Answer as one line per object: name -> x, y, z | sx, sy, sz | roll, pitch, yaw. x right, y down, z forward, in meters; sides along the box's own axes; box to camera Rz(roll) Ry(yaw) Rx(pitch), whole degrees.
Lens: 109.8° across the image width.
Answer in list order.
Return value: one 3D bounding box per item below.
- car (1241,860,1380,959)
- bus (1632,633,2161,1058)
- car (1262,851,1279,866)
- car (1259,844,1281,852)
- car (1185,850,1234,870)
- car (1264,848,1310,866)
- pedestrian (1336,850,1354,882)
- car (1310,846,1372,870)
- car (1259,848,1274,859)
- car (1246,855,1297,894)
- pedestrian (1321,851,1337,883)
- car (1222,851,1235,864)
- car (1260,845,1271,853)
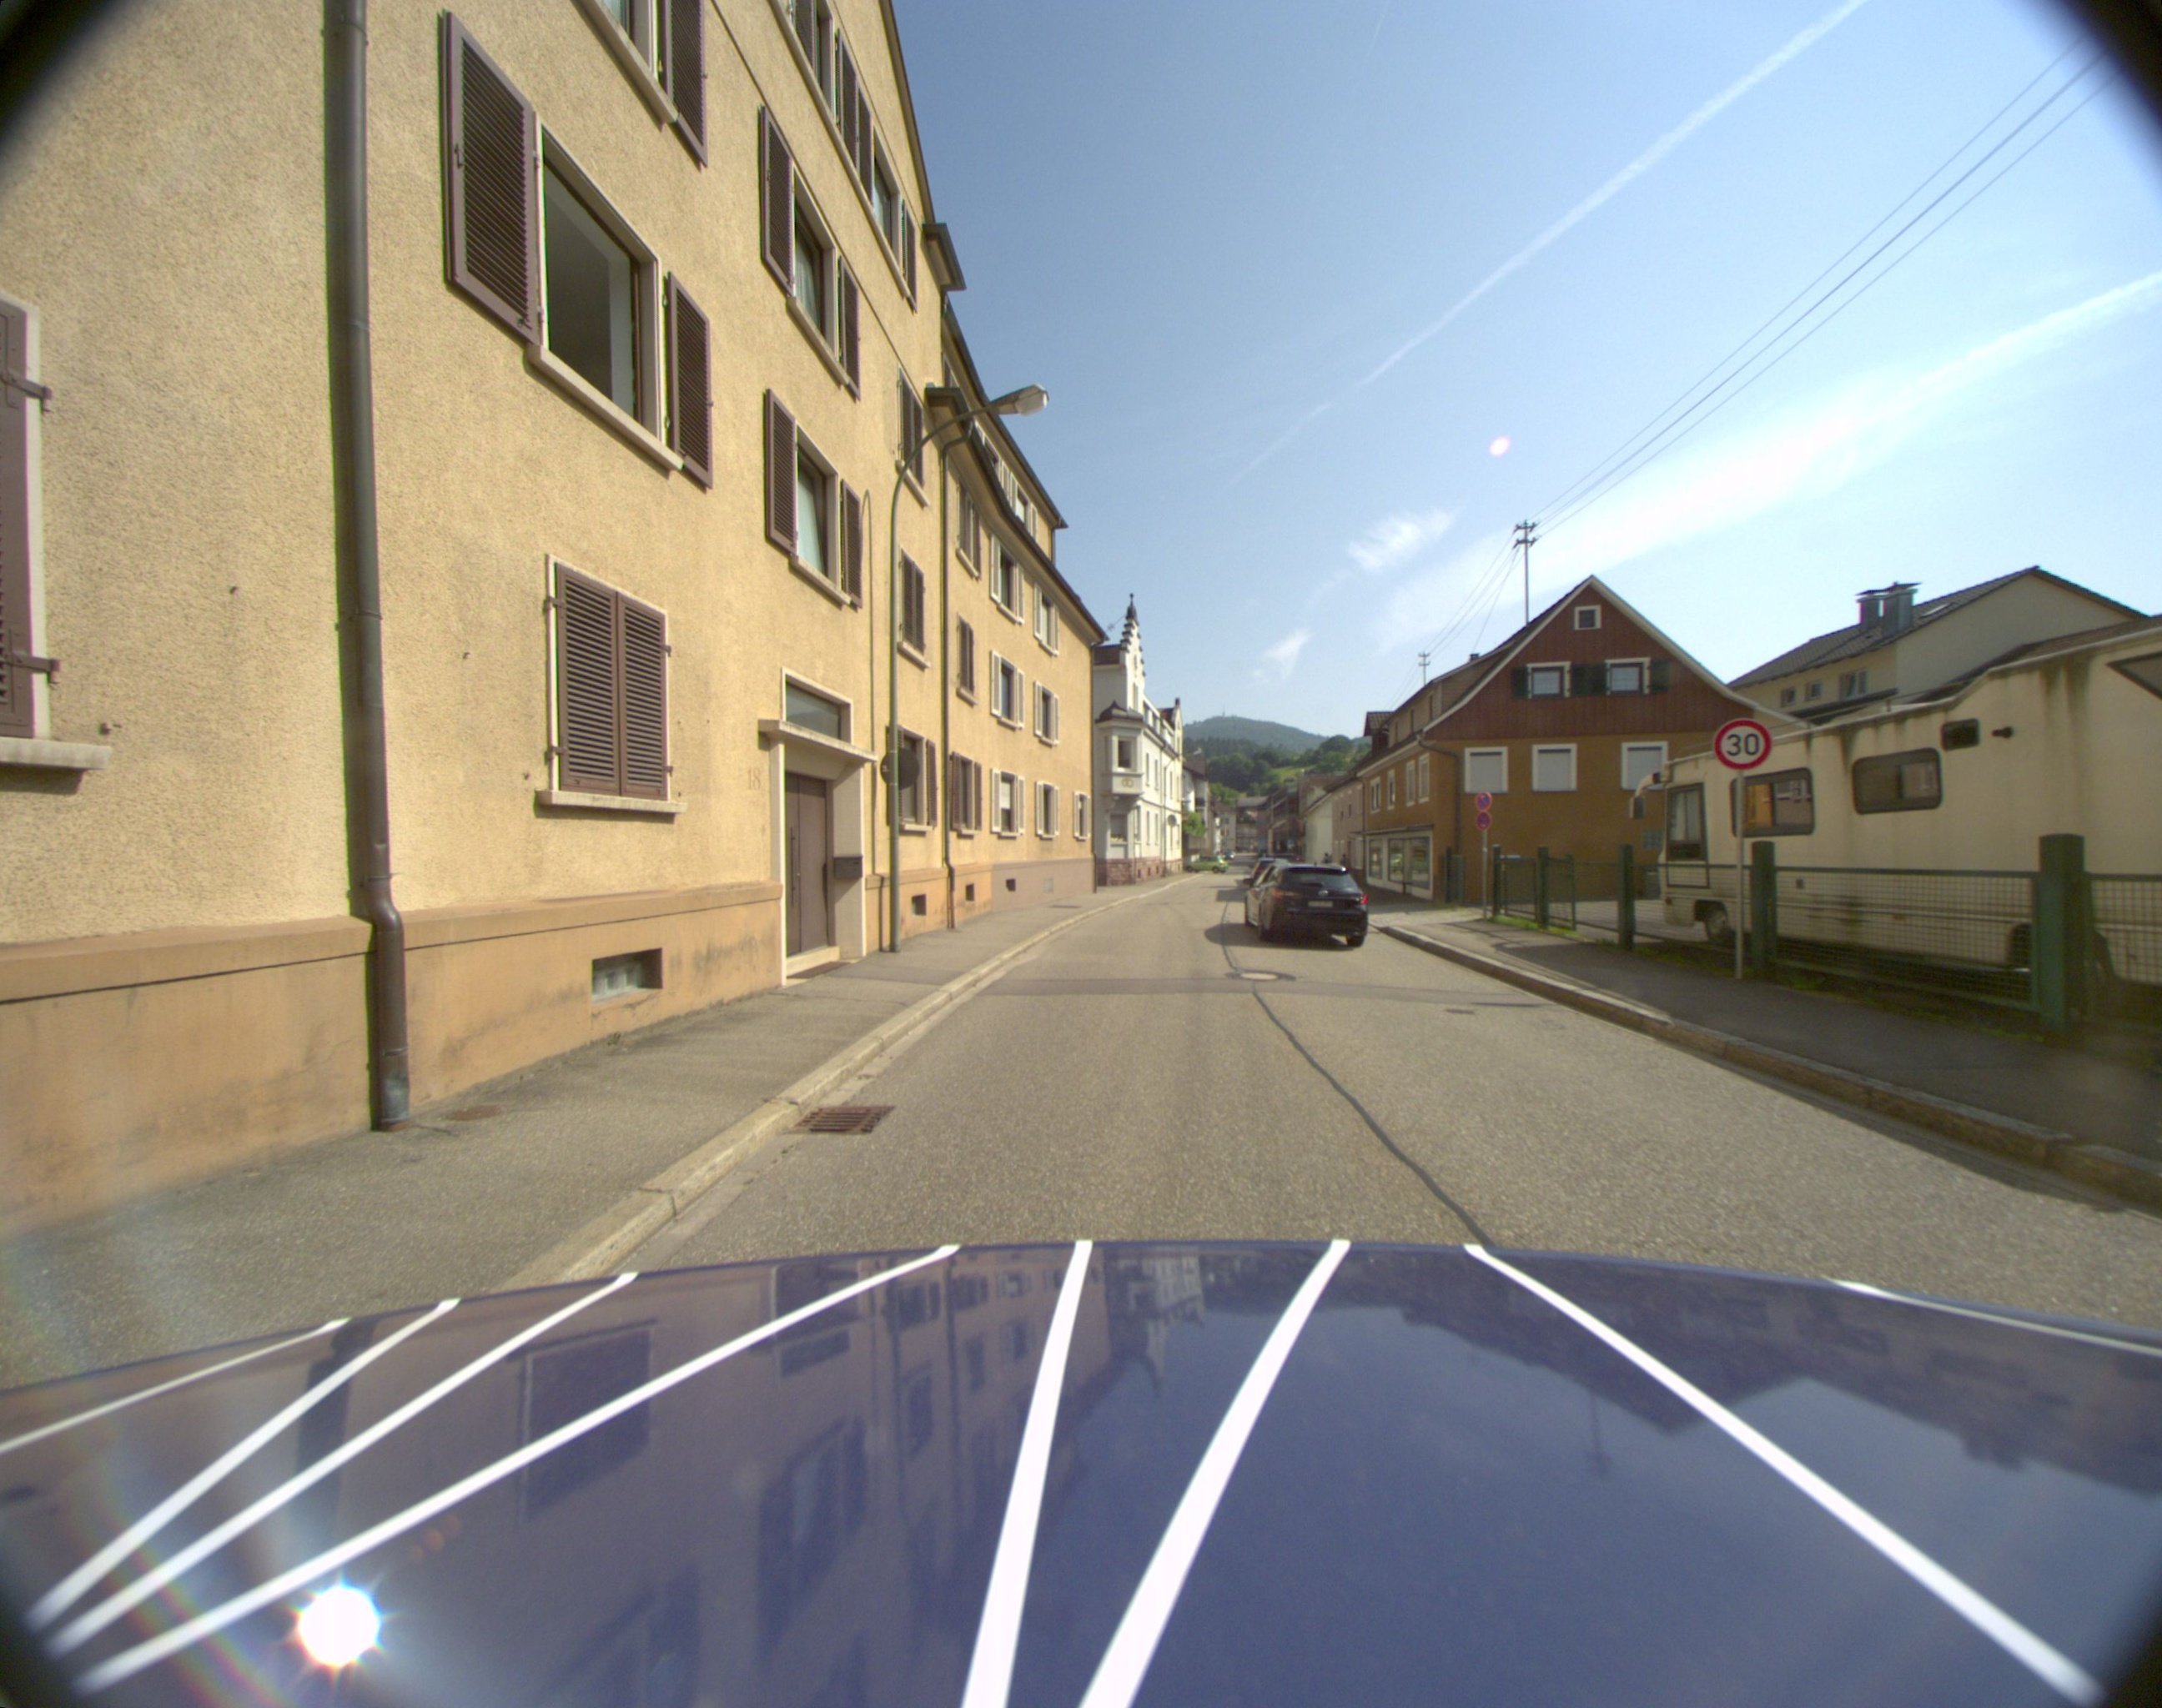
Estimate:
car -> 4.138, 0.903, 14.357 | 1.662, 1.441, 4.260 | 3, 1, 6
bus -> 9.963, -0.126, 8.043 | 2.825, 3.209, 9.042 | -3, 0, 9
car -> 23.145, 0.510, 92.886 | 1.723, 1.786, 4.272 | 0, 0, 9
car -> 38.514, -1.222, 154.922 | 3.996, 1.674, 1.835 | 0, -1, 3
car -> 10.789, 0.493, 63.978 | 3.648, 1.456, 1.605 | 4, 1, 33
car -> 19.938, 0.312, 73.602 | 3.990, 1.652, 1.827 | 0, -1, 25
pedestrian -> 13.509, 0.612, 38.891 | 0.736, 1.555, 0.825 | -2, 0, 13
car -> 19.079, 0.280, 55.881 | 3.994, 1.584, 1.909 | -1, 0, 10
car -> 25.923, -0.087, 106.195 | 1.677, 1.546, 3.767 | -1, 0, 10
car -> 8.183, 0.818, 32.883 | 1.750, 1.445, 4.030 | 3, 1, 10
pedestrian -> 12.750, 0.667, 39.122 | 0.640, 1.617, 0.778 | -3, 0, 13
car -> 24.526, 0.623, 126.180 | 1.997, 2.002, 4.002 | -2, 1, 9
car -> 35.621, -0.966, 146.615 | 1.785, 1.566, 3.891 | -3, 0, 11
